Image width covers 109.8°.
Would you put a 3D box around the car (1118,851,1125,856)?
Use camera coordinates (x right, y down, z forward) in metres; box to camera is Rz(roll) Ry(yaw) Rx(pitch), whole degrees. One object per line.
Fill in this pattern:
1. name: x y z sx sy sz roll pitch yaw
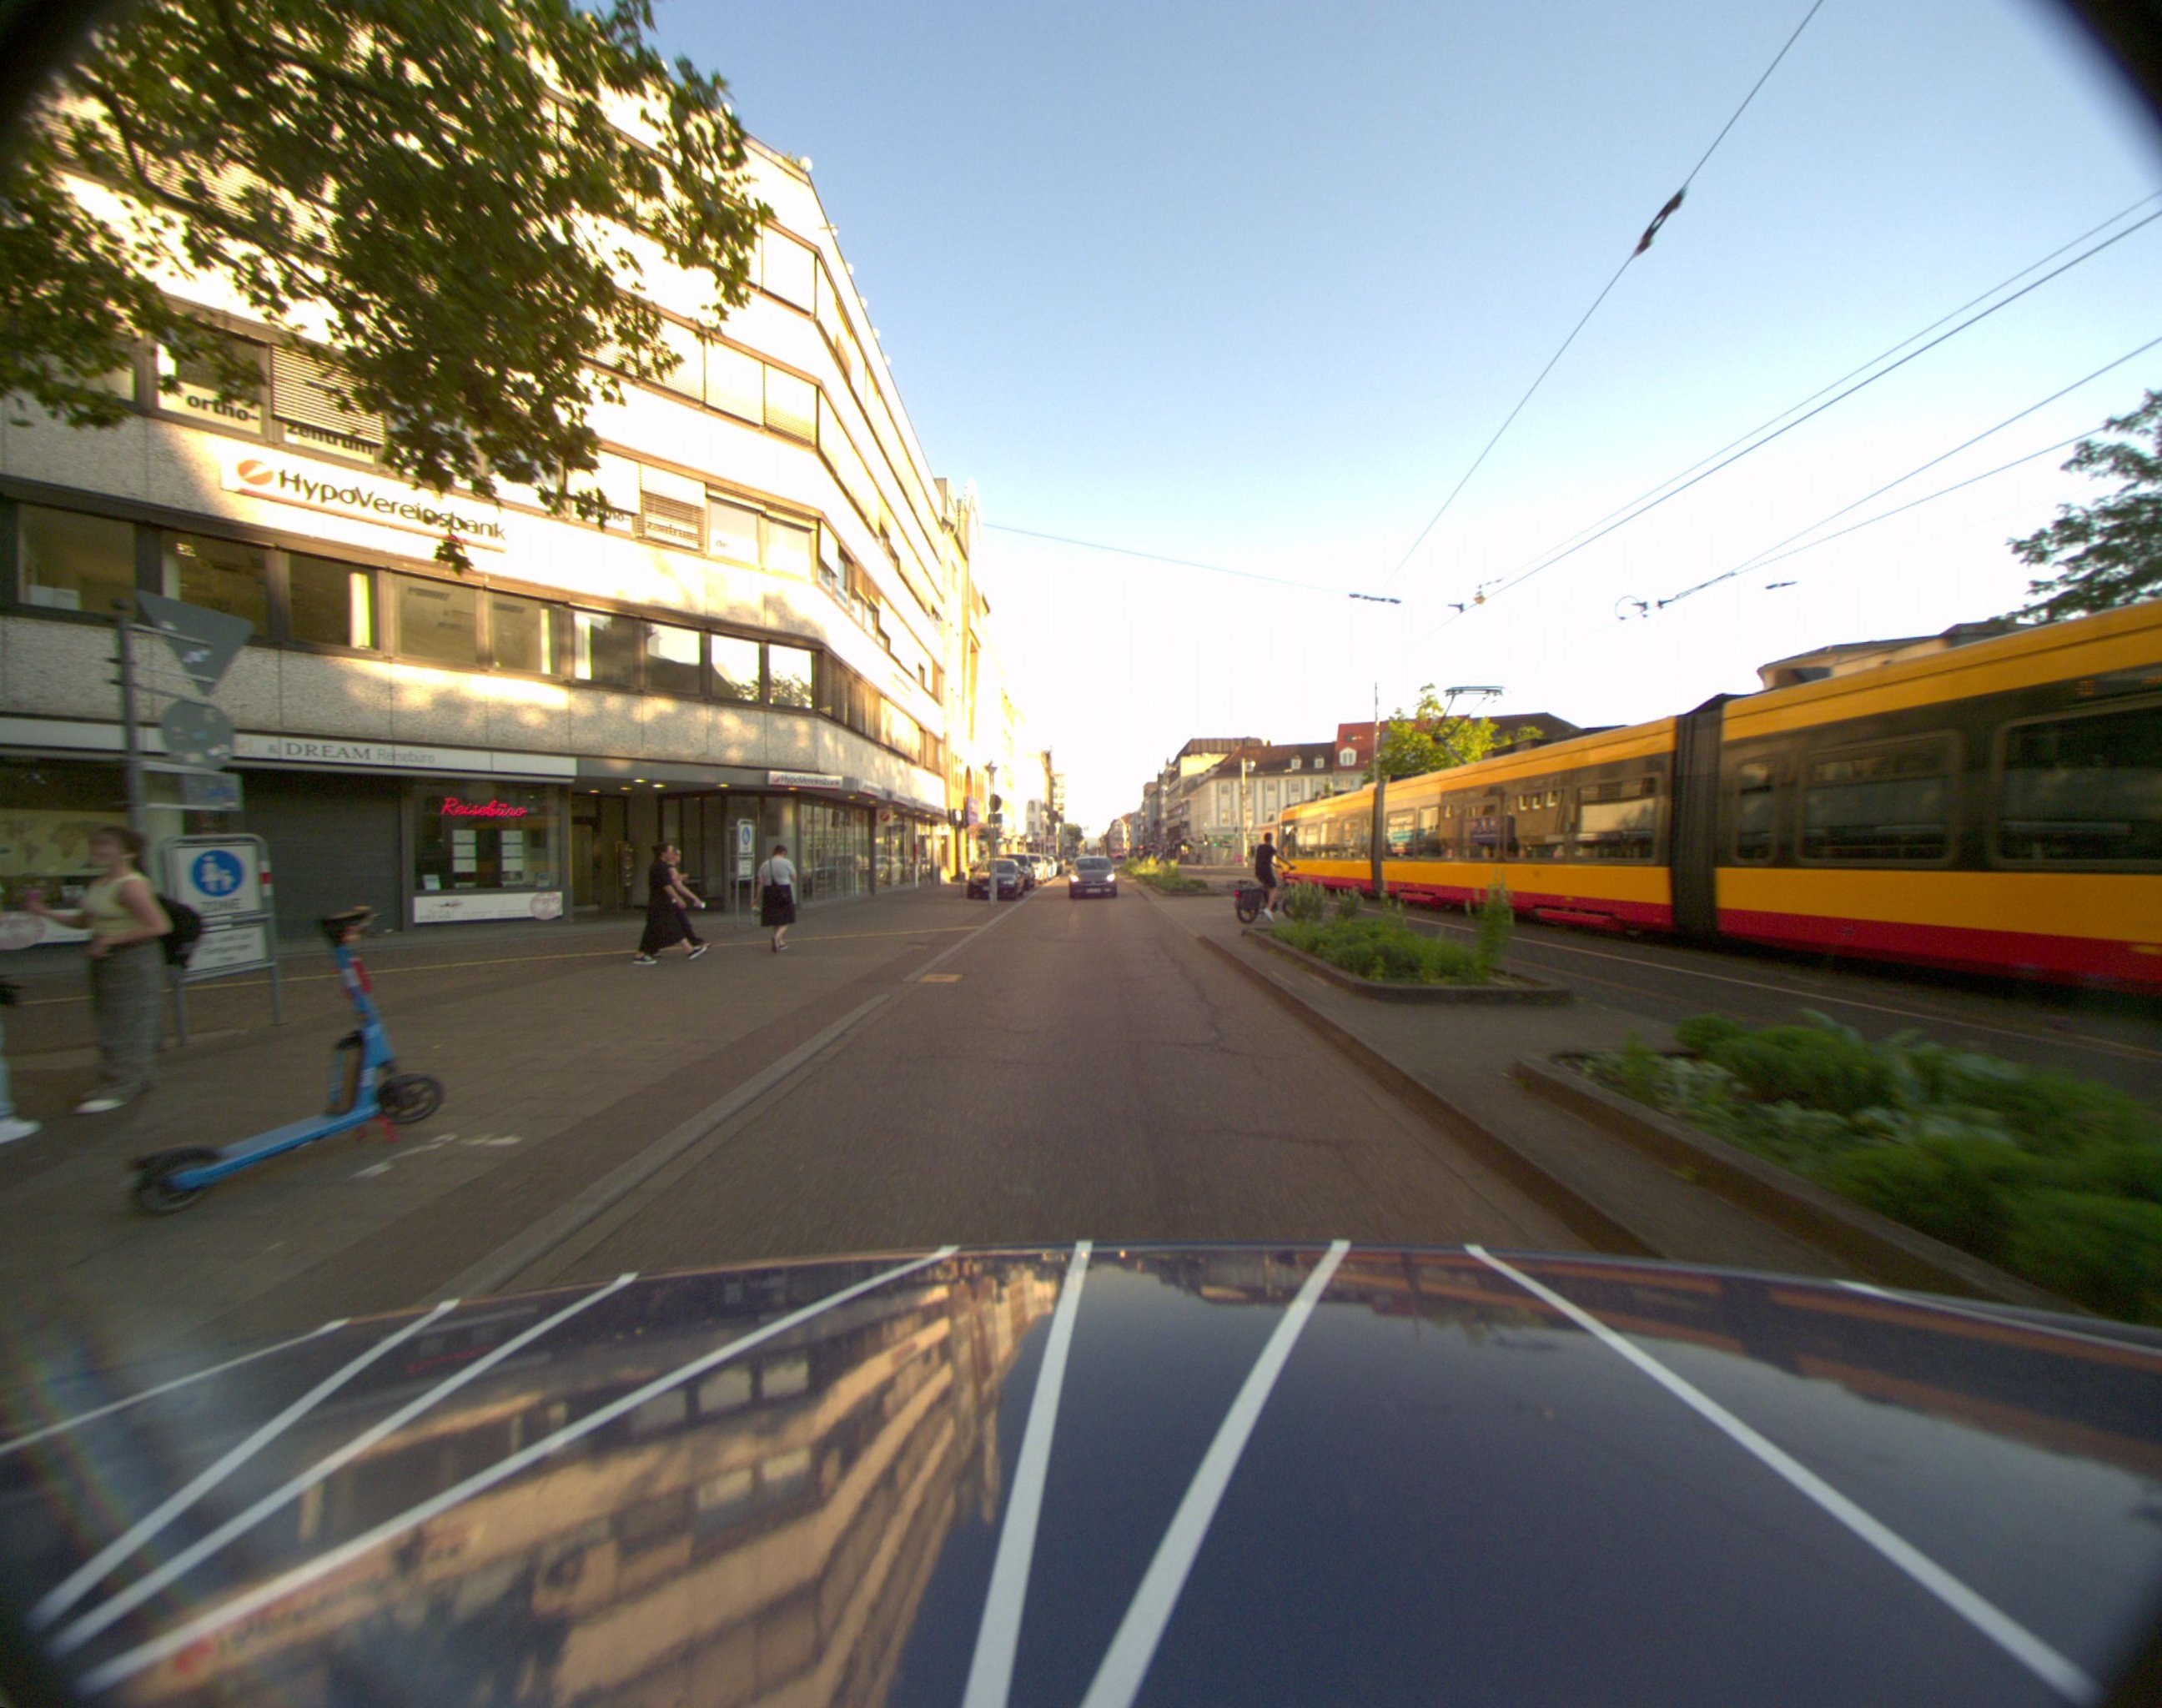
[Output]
1. car: 12.159 -0.168 230.484 1.895 1.471 4.545 2 -2 1

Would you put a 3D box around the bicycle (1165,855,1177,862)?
1. bicycle: 13.533 0.667 114.420 1.740 1.052 0.499 0 -1 9

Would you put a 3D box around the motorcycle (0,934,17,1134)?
1. motorcycle: -6.419 1.050 3.434 0.456 1.151 2.030 -1 0 -5

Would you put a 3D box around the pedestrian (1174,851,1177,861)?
1. pedestrian: 17.345 0.410 139.055 0.515 1.724 0.601 0 2 1

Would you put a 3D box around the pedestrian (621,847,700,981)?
1. pedestrian: -5.742 0.776 10.377 0.825 1.731 0.657 -2 3 -37

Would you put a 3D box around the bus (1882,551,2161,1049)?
1. bus: 9.143 -0.366 1.489 2.829 3.591 11.822 0 0 1

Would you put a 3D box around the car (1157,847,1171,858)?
1. car: 13.834 -0.257 127.113 1.915 1.785 4.128 -2 1 0

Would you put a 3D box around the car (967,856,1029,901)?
1. car: -2.906 0.815 27.409 1.659 1.372 4.341 3 0 1

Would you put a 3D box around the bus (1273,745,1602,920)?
1. bus: 9.547 -0.459 24.310 2.829 3.630 17.072 0 0 1

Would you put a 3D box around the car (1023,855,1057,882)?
1. car: -2.532 0.872 47.701 1.814 1.543 4.836 -1 0 0

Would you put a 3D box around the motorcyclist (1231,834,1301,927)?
1. motorcyclist: 3.779 0.507 15.572 1.006 1.803 0.957 -2 3 -26

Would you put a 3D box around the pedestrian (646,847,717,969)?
1. pedestrian: -5.897 0.760 11.208 0.825 1.714 0.657 0 1 -37

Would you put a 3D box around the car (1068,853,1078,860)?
1. car: -1.698 0.507 161.137 2.041 1.550 4.386 0 0 0

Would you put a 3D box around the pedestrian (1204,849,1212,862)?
1. pedestrian: 16.473 0.217 98.596 0.826 1.631 0.815 -1 0 17

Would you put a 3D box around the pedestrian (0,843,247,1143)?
1. pedestrian: -5.849 0.793 4.651 0.680 1.707 0.654 0 2 3

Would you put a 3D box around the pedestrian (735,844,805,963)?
1. pedestrian: -4.891 0.752 11.987 0.715 1.793 0.824 1 1 4

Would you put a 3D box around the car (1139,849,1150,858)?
1. car: 13.946 -0.153 167.283 1.998 2.002 3.999 0 2 1

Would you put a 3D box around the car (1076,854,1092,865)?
1. car: 0.430 0.712 101.504 1.914 1.350 3.747 -2 0 4

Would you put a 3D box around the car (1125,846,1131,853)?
1. car: 15.351 -1.643 248.952 1.975 2.181 4.132 0 2 1

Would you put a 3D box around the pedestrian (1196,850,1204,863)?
1. pedestrian: 15.565 0.343 99.564 0.826 1.718 0.814 -2 1 16

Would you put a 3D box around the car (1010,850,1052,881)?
1. car: -2.654 0.576 41.573 1.821 1.576 4.723 -1 0 2

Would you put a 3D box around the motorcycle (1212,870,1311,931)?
1. motorcycle: 3.695 0.927 15.520 2.053 1.117 0.567 -1 3 -26

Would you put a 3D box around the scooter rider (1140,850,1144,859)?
1. scooter rider: 12.492 0.093 154.942 0.813 1.796 0.788 -1 1 2

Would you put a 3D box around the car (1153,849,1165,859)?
1. car: 13.667 -0.036 132.948 1.701 1.614 4.000 -1 0 0

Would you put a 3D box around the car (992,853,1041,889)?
1. car: -2.881 0.773 34.648 1.780 1.529 4.579 0 -1 0

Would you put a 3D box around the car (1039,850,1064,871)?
1. car: -2.370 0.495 61.543 1.769 1.595 4.287 -1 0 0

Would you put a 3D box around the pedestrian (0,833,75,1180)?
1. pedestrian: -5.636 0.755 3.655 0.615 1.707 0.662 0 2 3

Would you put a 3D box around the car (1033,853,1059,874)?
1. car: -2.500 0.660 55.598 1.735 1.427 4.151 0 2 -1

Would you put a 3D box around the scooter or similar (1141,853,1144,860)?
1. scooter or similar: 12.475 0.480 154.829 0.545 1.343 1.669 -1 0 2

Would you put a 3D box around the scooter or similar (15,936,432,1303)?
1. scooter or similar: -3.728 1.052 3.453 0.315 1.214 1.273 0 1 8

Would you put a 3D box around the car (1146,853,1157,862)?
1. car: 13.097 0.619 141.284 1.819 1.548 3.999 0 2 1

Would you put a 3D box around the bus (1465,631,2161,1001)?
1. bus: 9.295 -0.395 11.585 2.829 3.604 8.288 0 1 1

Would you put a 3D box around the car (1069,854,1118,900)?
1. car: 0.416 0.747 26.749 1.587 1.445 3.842 0 1 0

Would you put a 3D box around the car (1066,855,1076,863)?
1. car: -1.954 0.889 149.353 2.041 1.550 4.386 0 0 0
